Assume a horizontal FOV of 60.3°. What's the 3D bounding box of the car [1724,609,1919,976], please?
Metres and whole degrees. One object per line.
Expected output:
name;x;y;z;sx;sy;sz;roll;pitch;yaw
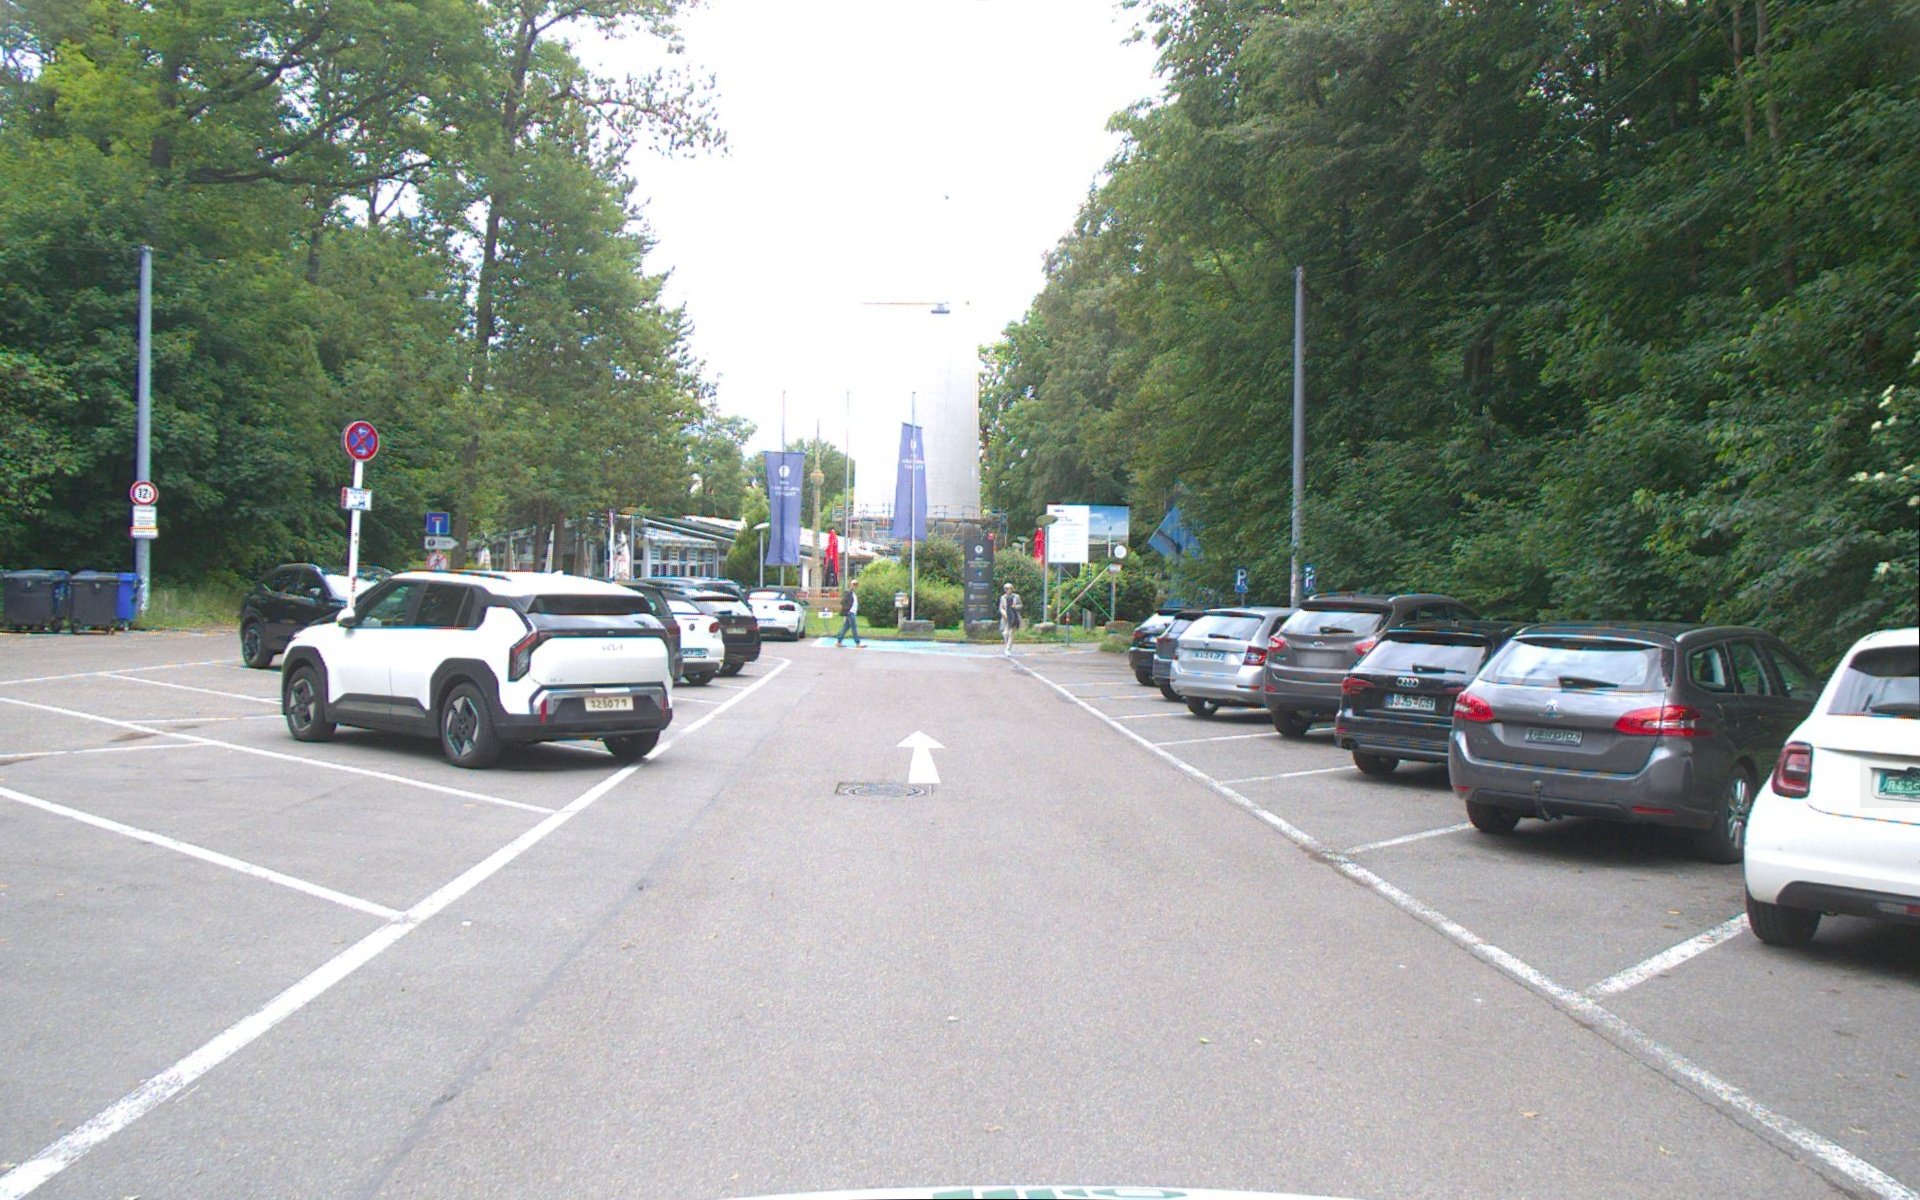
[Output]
car;5.348;0.844;8.220;1.706;1.531;3.556;1;0;45

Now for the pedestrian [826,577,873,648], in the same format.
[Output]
pedestrian;-2.802;0.302;41.817;0.877;1.755;0.763;1;0;29

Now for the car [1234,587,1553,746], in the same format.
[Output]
car;5.273;0.727;19.783;1.931;1.665;4.235;1;0;43

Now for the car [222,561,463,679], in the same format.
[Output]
car;-9.701;0.275;25.865;3.928;1.692;1.888;1;0;41

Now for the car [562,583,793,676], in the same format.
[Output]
car;-5.026;0.484;29.117;4.202;1.468;1.750;2;0;41

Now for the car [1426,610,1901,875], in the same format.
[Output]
car;5.081;0.847;11.642;1.773;1.483;4.160;1;0;43

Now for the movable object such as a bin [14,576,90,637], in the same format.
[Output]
movable object such as a bin;-20.684;0.149;37.706;1.102;1.343;1.238;1;0;-6

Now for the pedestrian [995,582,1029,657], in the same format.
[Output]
pedestrian;1.251;0.469;39.682;0.746;1.755;0.897;1;0;3

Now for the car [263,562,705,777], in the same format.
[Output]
car;-4.326;0.512;14.734;4.114;1.624;1.836;2;0;41

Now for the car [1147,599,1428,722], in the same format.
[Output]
car;4.539;0.764;22.639;3.967;1.492;1.806;1;1;-43

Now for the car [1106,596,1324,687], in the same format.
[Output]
car;4.688;0.737;30.005;1.867;1.488;4.177;2;0;43

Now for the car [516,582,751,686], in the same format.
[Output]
car;-5.178;0.491;25.980;3.780;1.468;1.761;2;0;44

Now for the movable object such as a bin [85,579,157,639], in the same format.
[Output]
movable object such as a bin;-19.647;0.205;38.757;1.232;1.348;1.142;1;0;-14

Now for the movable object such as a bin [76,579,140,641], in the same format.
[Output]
movable object such as a bin;-18.826;0.218;36.534;1.157;1.330;1.299;1;0;-32

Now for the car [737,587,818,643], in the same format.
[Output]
car;-5.038;0.389;46.089;1.854;1.453;3.999;1;0;-1

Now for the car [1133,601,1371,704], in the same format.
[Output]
car;4.685;0.794;26.155;1.877;1.447;3.975;2;0;42

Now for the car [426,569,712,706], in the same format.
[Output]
car;-5.245;0.435;21.962;3.908;1.614;1.836;2;1;43

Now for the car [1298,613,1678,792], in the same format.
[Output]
car;5.102;0.859;15.637;1.930;1.401;4.239;1;0;41

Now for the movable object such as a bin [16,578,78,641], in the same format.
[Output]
movable object such as a bin;-19.842;0.208;35.929;1.112;1.337;1.172;1;0;-32

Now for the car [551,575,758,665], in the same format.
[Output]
car;-6.150;0.359;33.088;4.310;1.637;1.818;2;0;42

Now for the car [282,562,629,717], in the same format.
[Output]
car;-5.869;0.390;19.085;3.921;1.581;1.866;1;0;36
